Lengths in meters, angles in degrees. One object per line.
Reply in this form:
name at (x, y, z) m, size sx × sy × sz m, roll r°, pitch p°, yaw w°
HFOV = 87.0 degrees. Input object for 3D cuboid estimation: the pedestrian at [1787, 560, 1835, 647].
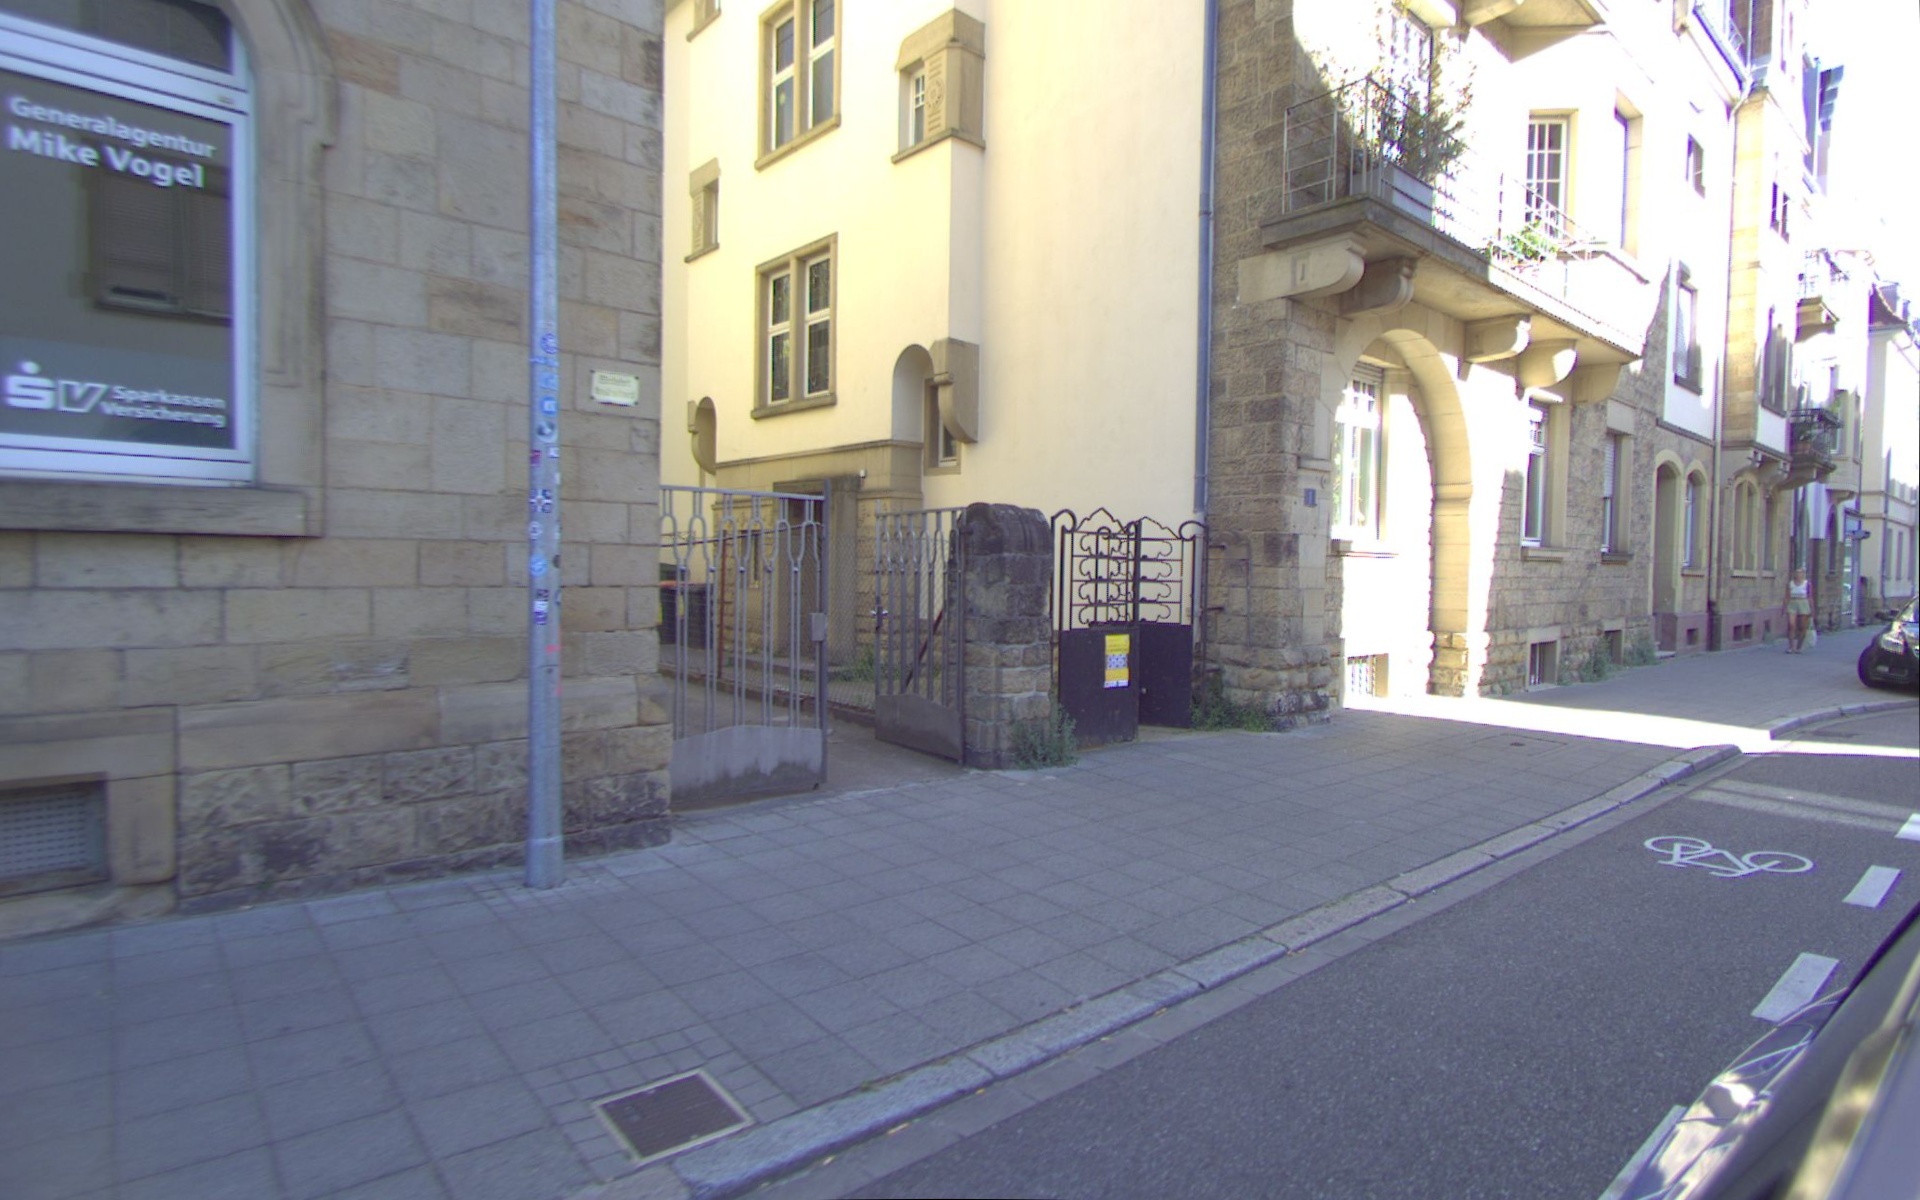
pedestrian at (17.587, 0.056, 20.910) m, size 0.685 × 1.743 × 0.578 m, roll 0°, pitch 3°, yaw -40°

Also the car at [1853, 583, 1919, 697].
car at (14.776, 0.542, 14.819) m, size 3.929 × 1.557 × 1.997 m, roll 0°, pitch 0°, yaw -40°

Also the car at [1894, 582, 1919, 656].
car at (19.369, 0.344, 19.290) m, size 3.929 × 1.362 × 1.832 m, roll 0°, pitch 0°, yaw -40°

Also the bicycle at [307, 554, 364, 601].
bicycle at (-14.590, -0.551, 23.627) m, size 1.981 × 1.021 × 0.643 m, roll 3°, pitch 5°, yaw 44°
